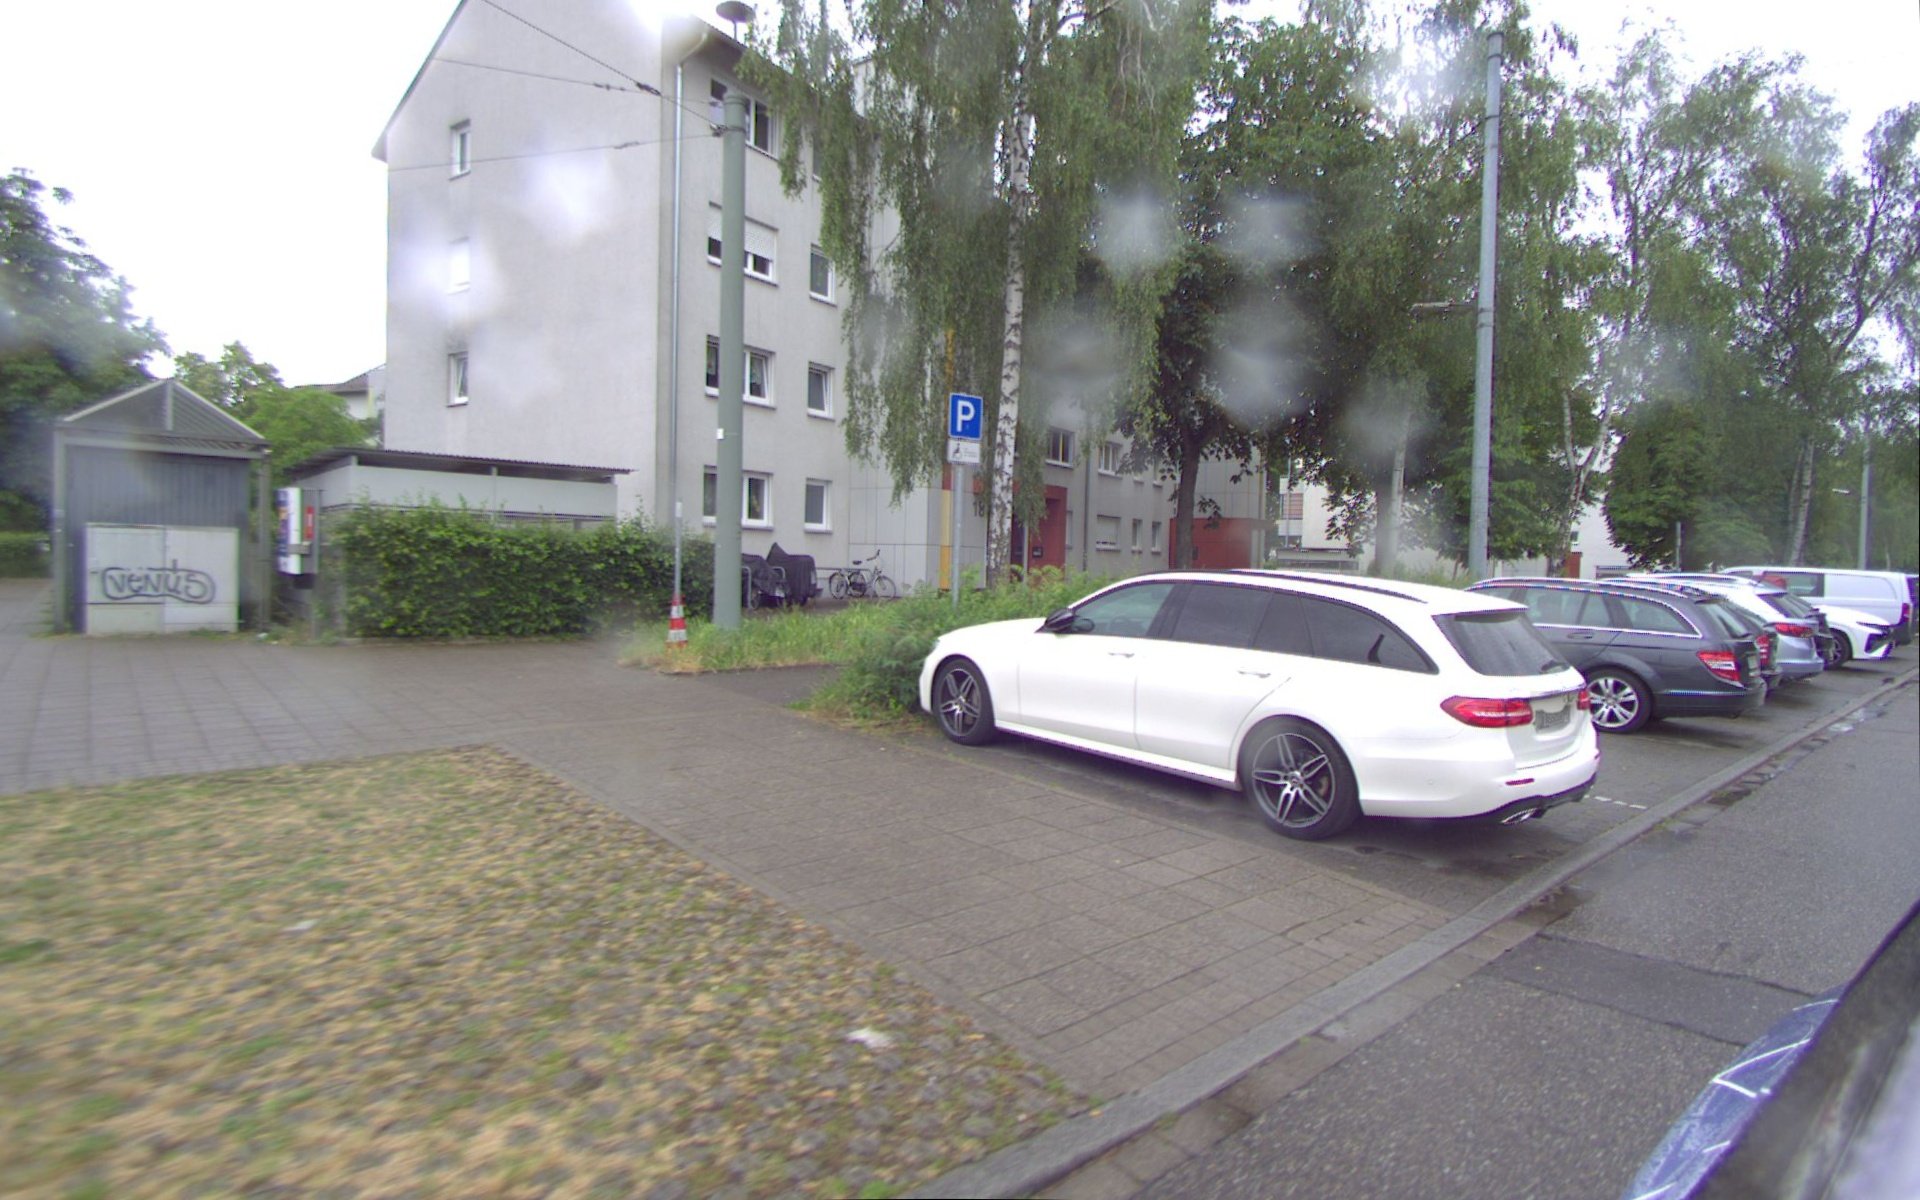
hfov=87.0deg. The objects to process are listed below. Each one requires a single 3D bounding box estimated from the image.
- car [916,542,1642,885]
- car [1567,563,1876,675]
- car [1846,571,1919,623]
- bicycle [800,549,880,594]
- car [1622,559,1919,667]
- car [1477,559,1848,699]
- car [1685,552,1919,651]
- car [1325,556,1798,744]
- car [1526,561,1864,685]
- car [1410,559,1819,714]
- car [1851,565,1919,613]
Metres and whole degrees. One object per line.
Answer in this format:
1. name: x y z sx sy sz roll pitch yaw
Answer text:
1. car: 1.790 0.428 7.079 1.651 1.456 4.622 -1 5 -41
2. car: 13.172 0.222 17.698 1.653 1.514 4.044 -1 5 -43
3. car: 36.273 -0.116 38.166 1.866 1.937 3.999 -1 1 -36
4. bicycle: -2.765 -0.654 23.450 0.701 1.005 1.918 0 1 38
5. car: 15.498 0.150 19.538 1.651 1.637 4.181 -1 5 -39
6. car: 9.864 0.283 14.458 1.653 1.514 4.044 -1 5 -43
7. car: 19.264 -0.050 23.080 4.172 1.888 1.654 6 5 44
8. car: 6.279 0.361 10.935 1.653 1.456 4.044 -1 5 -43
9. car: 11.540 0.241 16.104 1.653 1.514 4.044 -1 5 -43
10. car: 8.150 0.323 12.901 1.653 1.456 4.044 -1 5 -43
11. car: 39.556 -0.464 41.664 1.866 1.937 3.999 -1 1 -36
